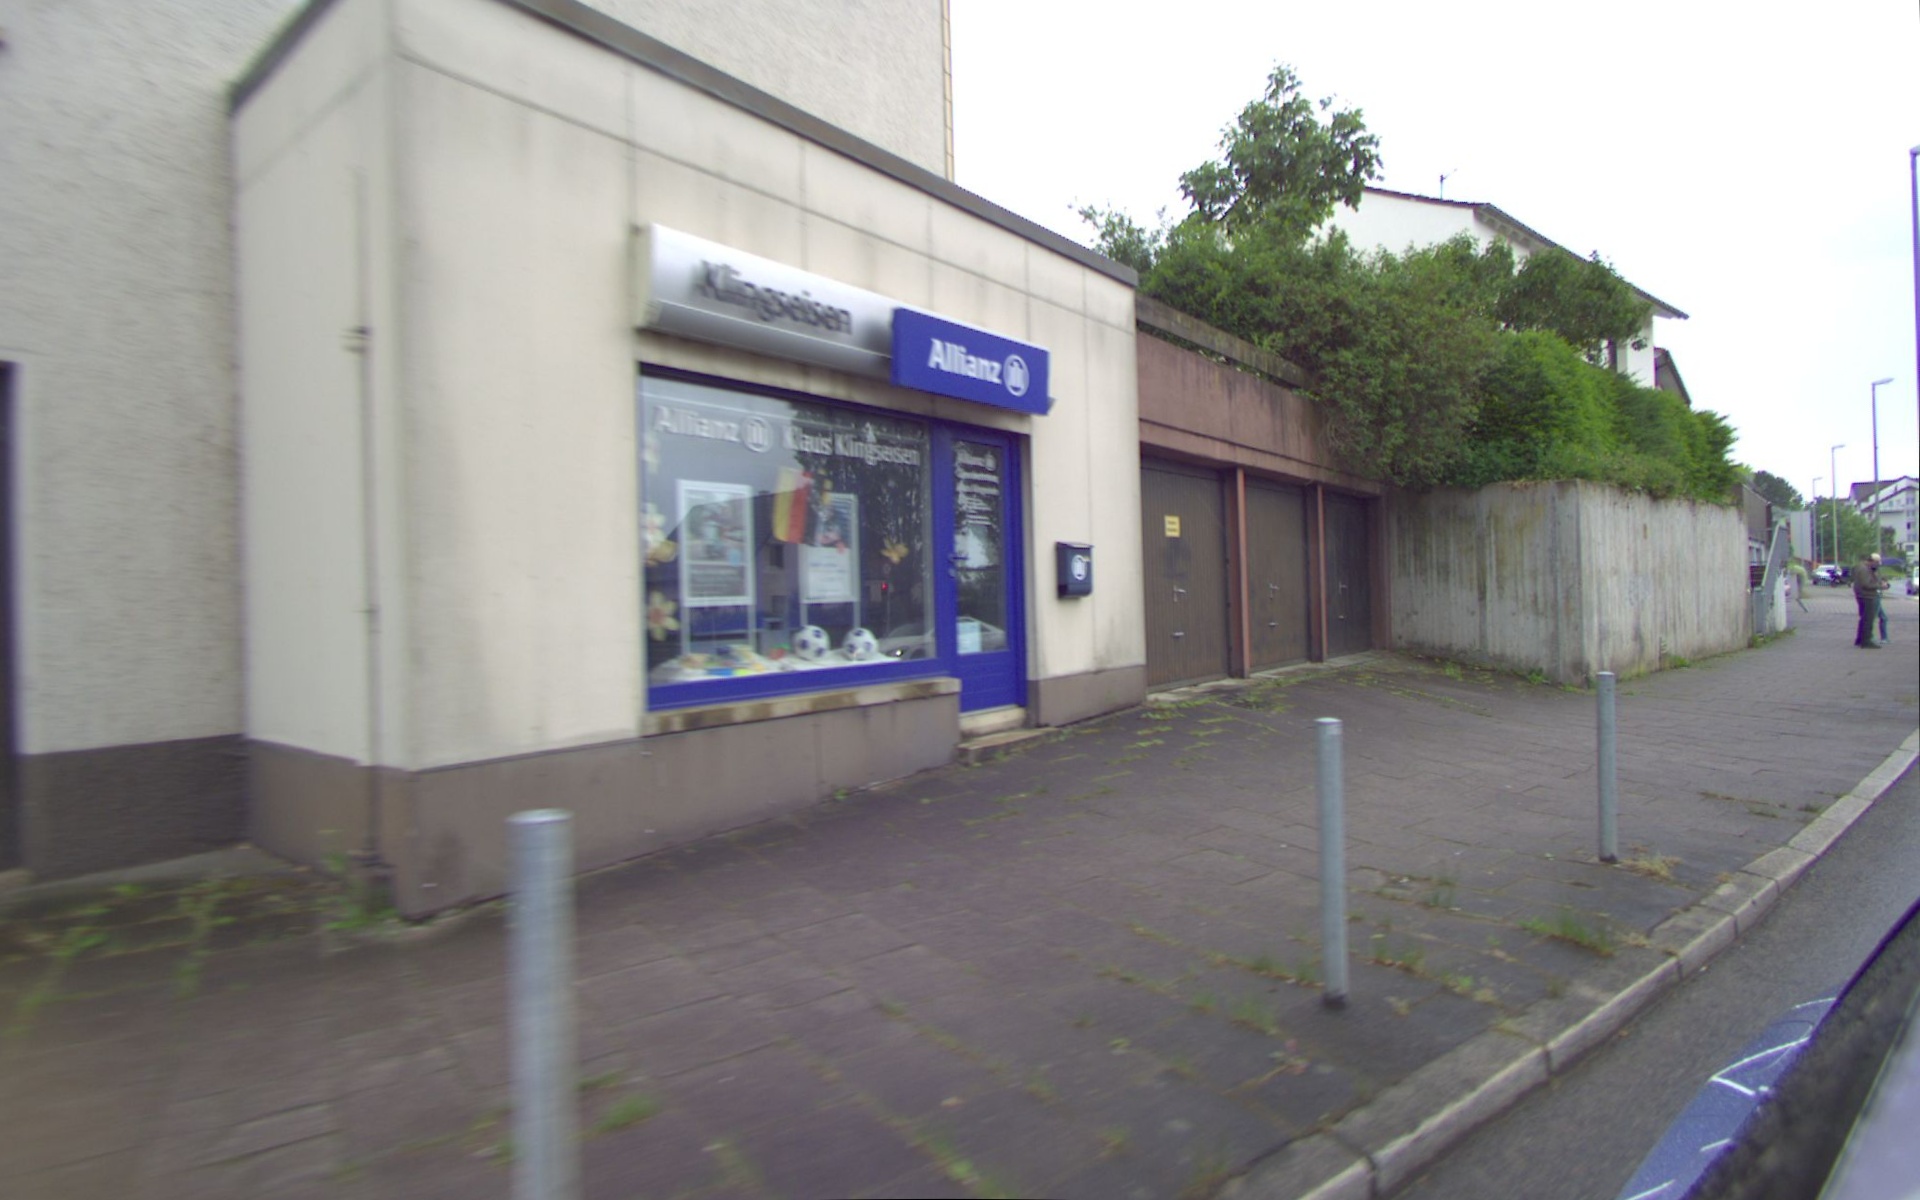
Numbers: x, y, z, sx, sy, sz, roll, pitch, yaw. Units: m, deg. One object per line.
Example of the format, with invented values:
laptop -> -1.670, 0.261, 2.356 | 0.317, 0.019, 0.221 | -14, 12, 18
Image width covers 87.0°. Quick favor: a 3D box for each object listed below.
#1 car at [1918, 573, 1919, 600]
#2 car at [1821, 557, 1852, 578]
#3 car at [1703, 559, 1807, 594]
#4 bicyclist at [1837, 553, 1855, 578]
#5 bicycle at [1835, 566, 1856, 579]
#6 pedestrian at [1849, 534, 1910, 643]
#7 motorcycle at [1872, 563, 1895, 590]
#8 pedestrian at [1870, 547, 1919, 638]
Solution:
car -> 52.862, -0.720, 54.205 | 1.832, 1.500, 3.946 | 1, 1, 38
car -> 67.263, -2.500, 77.691 | 1.730, 1.508, 3.943 | 1, 2, 40
car -> 36.448, -1.055, 46.518 | 3.621, 1.503, 1.790 | -1, 1, 36
bicyclist -> 60.256, -2.353, 68.852 | 0.890, 1.663, 0.809 | -2, 2, -41
bicycle -> 60.240, -1.898, 68.834 | 2.195, 0.836, 0.733 | -2, 2, -40
pedestrian -> 17.715, -0.222, 19.497 | 0.722, 2.039, 0.798 | -2, 1, -43
motorcycle -> 46.516, -1.199, 50.979 | 0.691, 1.341, 2.445 | 0, 2, 38
pedestrian -> 19.194, -0.180, 20.675 | 0.995, 1.802, 0.794 | -2, 3, -43
